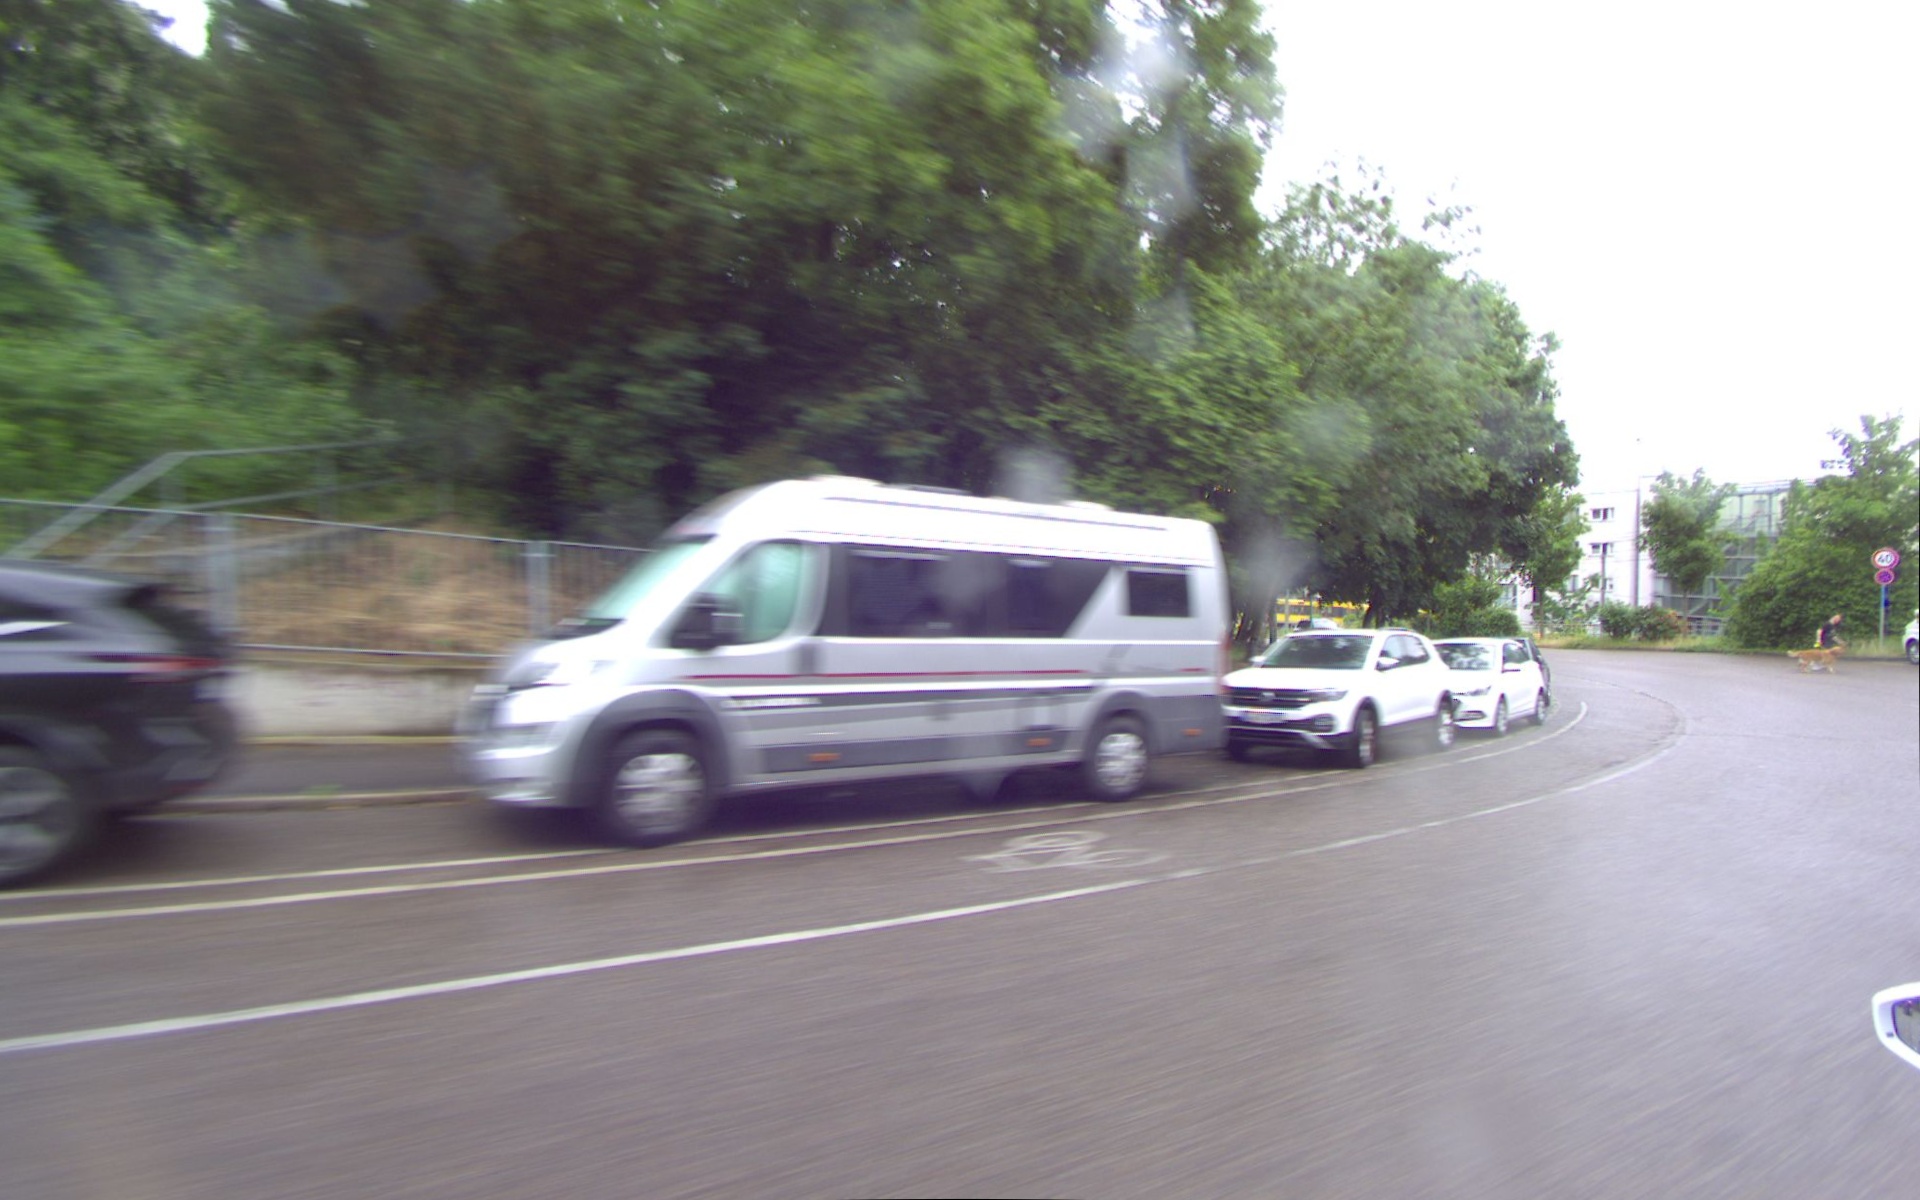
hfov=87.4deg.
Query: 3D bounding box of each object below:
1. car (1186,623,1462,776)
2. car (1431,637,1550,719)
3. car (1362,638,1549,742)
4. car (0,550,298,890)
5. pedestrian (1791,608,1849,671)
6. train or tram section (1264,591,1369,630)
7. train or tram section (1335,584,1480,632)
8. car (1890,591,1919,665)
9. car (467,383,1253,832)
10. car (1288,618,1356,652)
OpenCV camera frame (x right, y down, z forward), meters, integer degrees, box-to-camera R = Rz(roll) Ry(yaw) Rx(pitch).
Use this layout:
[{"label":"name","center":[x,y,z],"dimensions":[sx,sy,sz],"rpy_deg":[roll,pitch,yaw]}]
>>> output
[{"label":"car","center":[4.669,1.146,12.597],"dimensions":[1.785,1.603,4.001],"rpy_deg":[-2,-4,44]},{"label":"car","center":[10.983,1.521,20.660],"dimensions":[1.749,1.462,4.004],"rpy_deg":[-2,-2,33]},{"label":"car","center":[8.213,1.374,16.479],"dimensions":[1.732,1.475,4.026],"rpy_deg":[-2,-3,42]},{"label":"car","center":[-6.206,0.520,5.187],"dimensions":[4.339,1.640,1.987],"rpy_deg":[3,-1,-26]},{"label":"pedestrian","center":[24.073,1.097,28.118],"dimensions":[0.794,1.683,0.920],"rpy_deg":[-3,-1,-25]},{"label":"train or tram section","center":[39.687,1.221,113.173],"dimensions":[3.279,4.000,18.796],"rpy_deg":[-1,-1,-6]},{"label":"train or tram section","center":[41.631,0.854,94.923],"dimensions":[3.279,4.000,19.264],"rpy_deg":[-1,-1,-6]},{"label":"car","center":[26.916,0.714,26.142],"dimensions":[1.845,2.040,4.694],"rpy_deg":[-2,-1,14]},{"label":"car","center":[-0.458,0.216,8.423],"dimensions":[6.284,2.583,2.060],"rpy_deg":[4,-2,-35]},{"label":"car","center":[20.346,1.923,56.612],"dimensions":[1.790,1.691,4.305],"rpy_deg":[-3,0,-7]}]
